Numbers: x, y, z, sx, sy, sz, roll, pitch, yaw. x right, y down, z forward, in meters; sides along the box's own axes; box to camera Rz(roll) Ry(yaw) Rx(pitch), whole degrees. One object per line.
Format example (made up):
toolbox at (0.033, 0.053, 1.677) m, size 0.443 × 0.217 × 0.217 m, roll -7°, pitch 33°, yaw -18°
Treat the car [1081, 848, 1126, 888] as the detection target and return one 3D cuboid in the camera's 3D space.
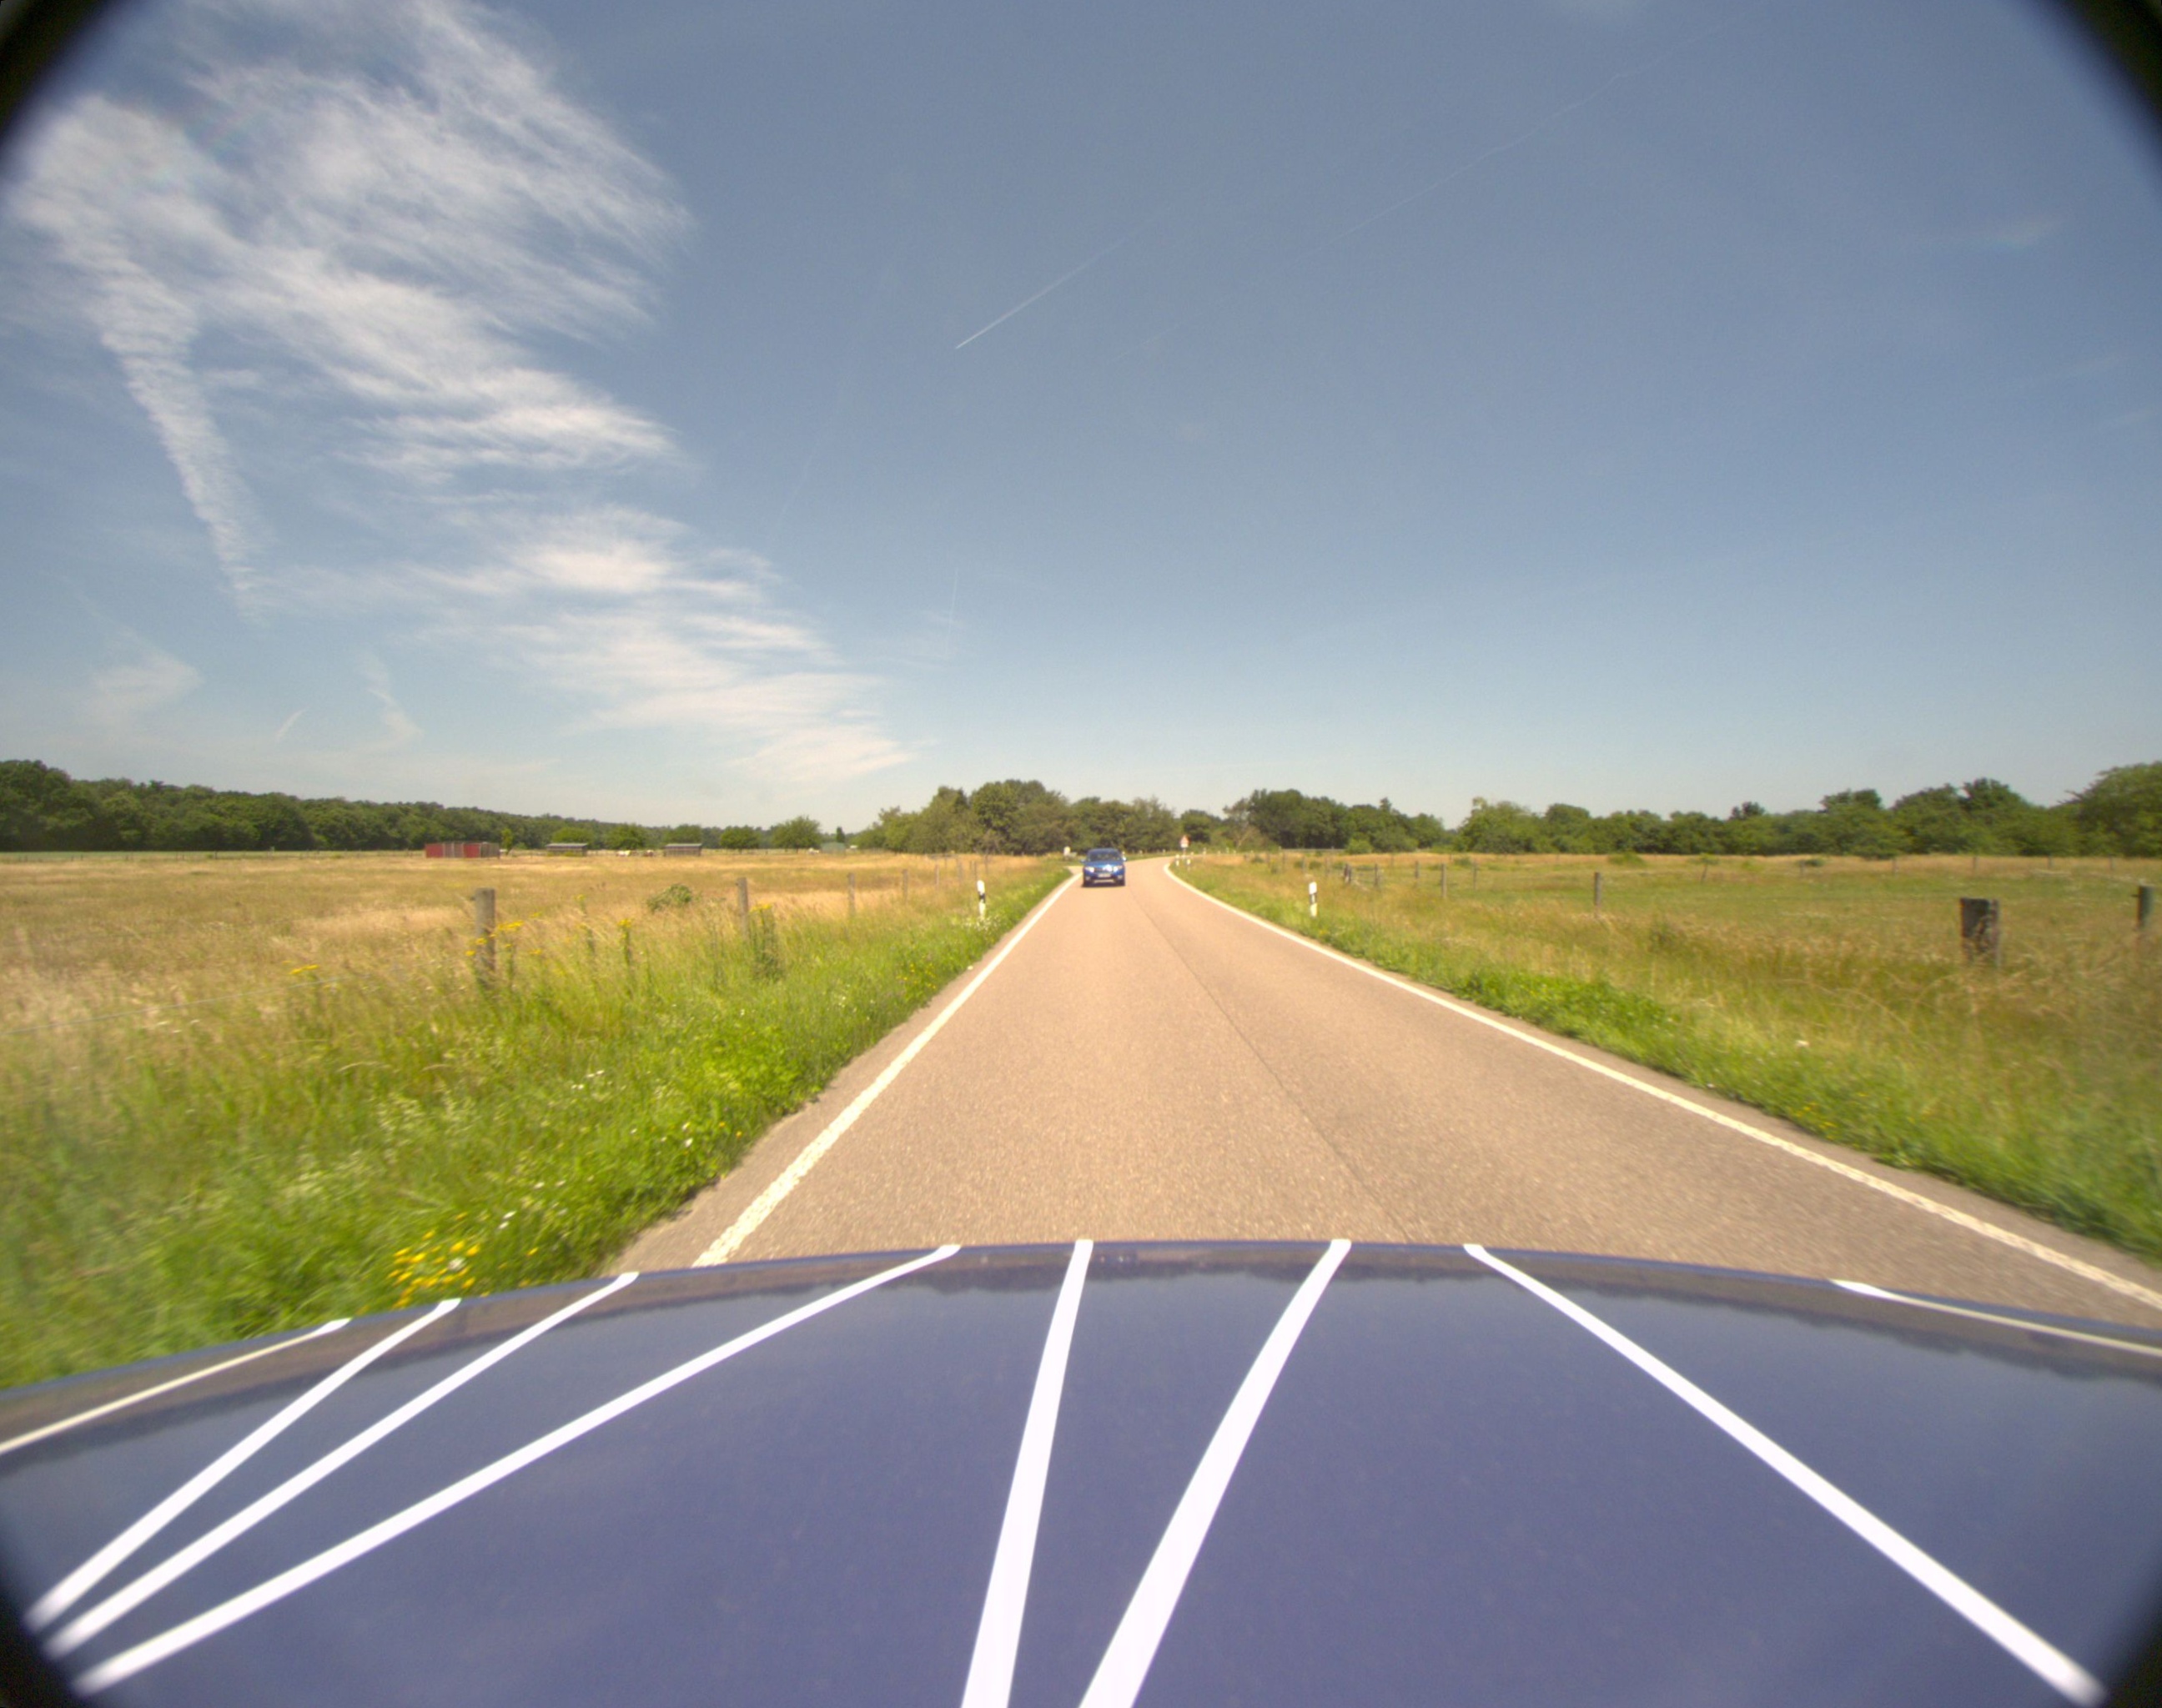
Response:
car at (1.040, 0.538, 32.529) m, size 1.733 × 1.572 × 4.001 m, roll -1°, pitch 1°, yaw 4°
